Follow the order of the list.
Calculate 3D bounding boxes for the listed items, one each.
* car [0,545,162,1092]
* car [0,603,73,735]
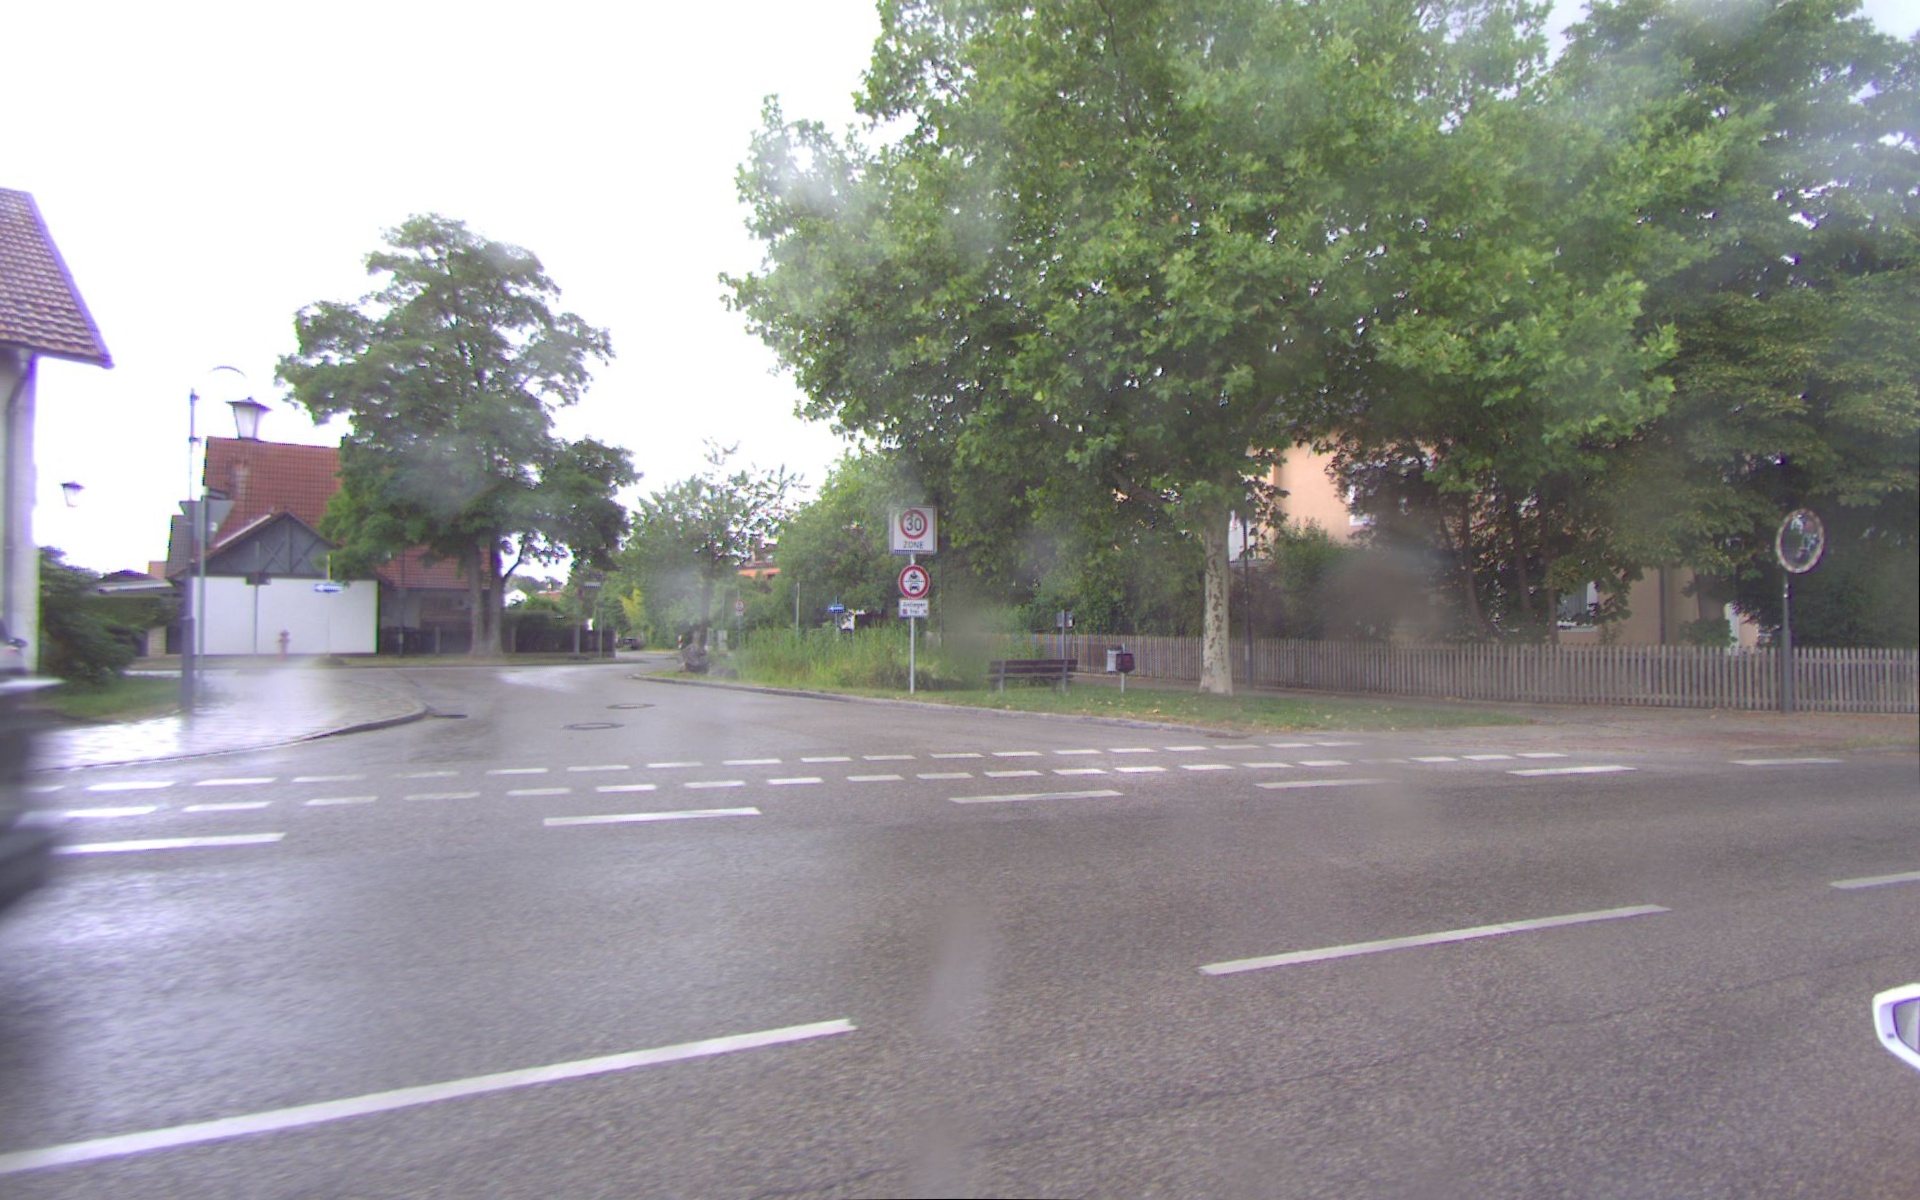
[{"bbox_3d":[-4.987,0.600,2.666,4.138,1.616,1.986,1,0,-28],"label":"car"},{"bbox_3d":[-12.303,0.763,12.308,1.804,1.455,4.235,2,-2,-37],"label":"car"}]
